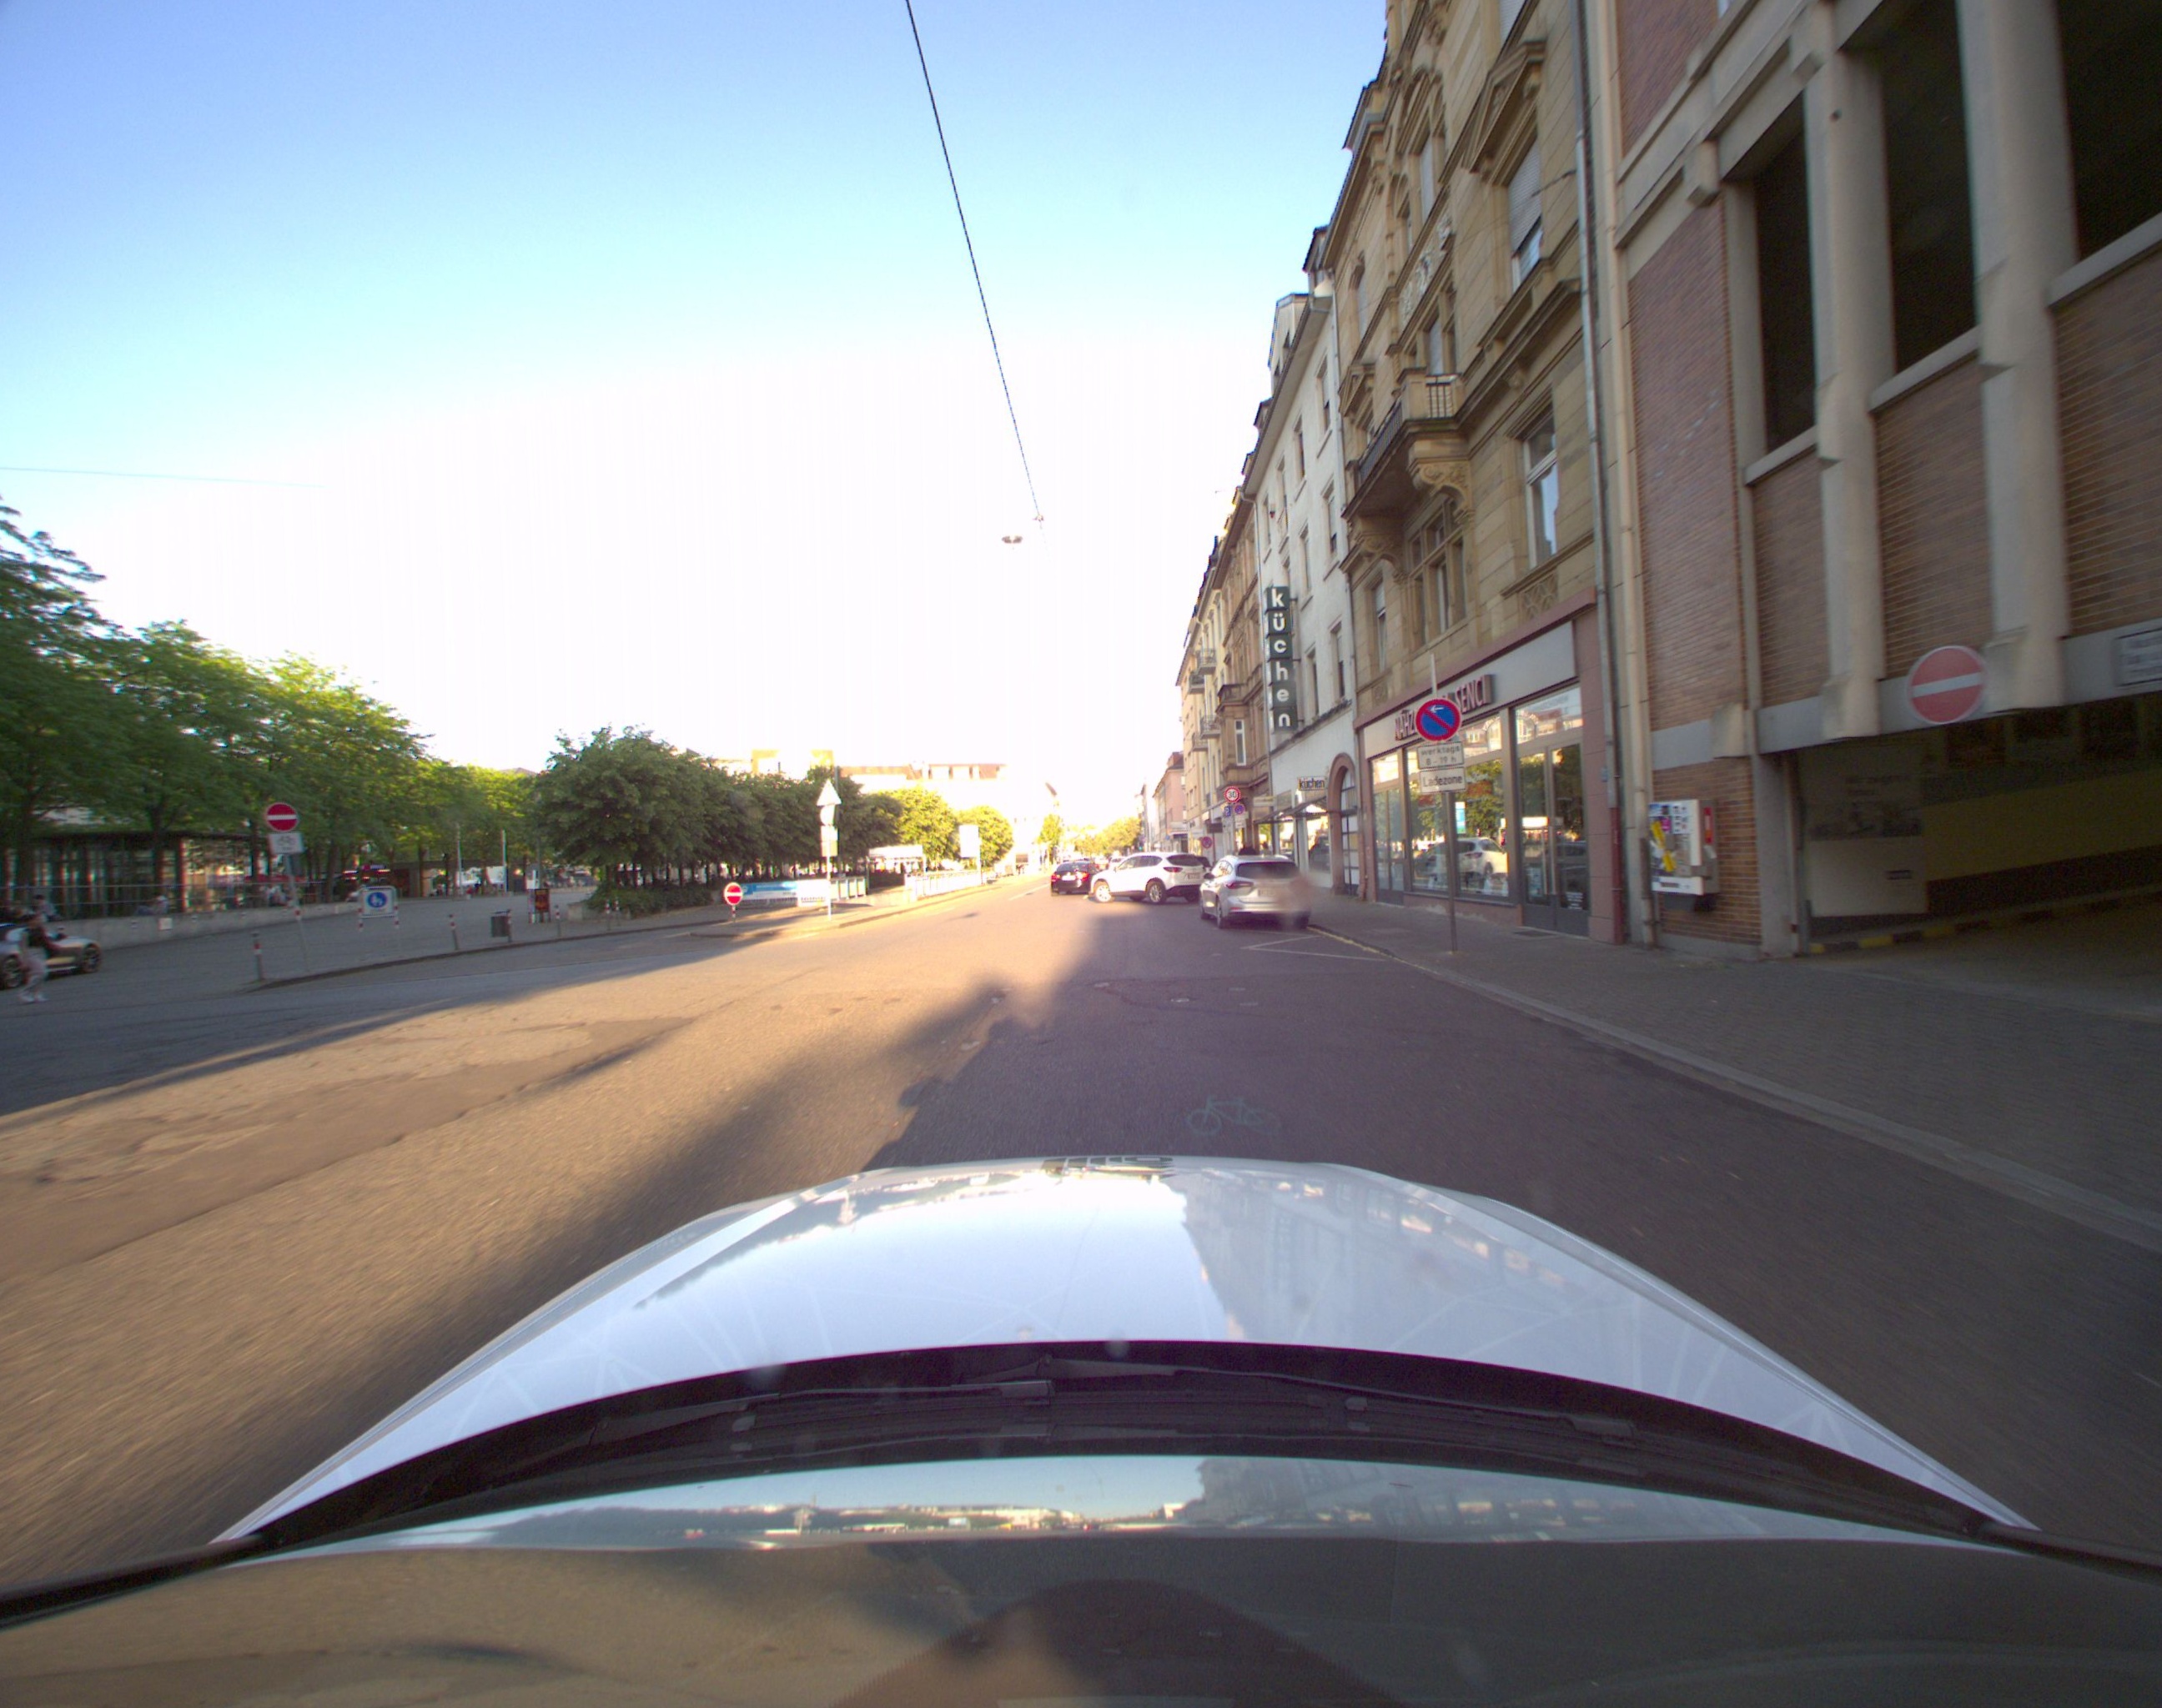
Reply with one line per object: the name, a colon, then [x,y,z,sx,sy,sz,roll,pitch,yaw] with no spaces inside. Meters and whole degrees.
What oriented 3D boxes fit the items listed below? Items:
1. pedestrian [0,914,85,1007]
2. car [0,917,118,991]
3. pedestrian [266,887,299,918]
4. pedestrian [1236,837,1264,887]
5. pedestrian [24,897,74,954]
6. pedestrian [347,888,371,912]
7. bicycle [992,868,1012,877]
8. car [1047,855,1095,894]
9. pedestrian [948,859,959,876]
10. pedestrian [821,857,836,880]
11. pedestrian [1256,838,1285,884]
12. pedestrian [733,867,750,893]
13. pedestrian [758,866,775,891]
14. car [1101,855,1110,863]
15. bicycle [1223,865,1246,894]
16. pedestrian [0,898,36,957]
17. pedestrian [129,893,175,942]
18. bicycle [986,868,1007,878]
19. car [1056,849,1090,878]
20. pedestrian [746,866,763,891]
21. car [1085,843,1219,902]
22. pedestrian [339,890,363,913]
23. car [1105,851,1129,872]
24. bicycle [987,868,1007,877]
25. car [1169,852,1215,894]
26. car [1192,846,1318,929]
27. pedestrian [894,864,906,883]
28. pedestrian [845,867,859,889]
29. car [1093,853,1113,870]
pedestrian: [-19.345,1.944,15.033,0.901,1.566,0.762,-3,0,-23]
car: [-23.879,2.230,17.864,2.006,1.317,4.486,-3,0,-28]
pedestrian: [-34.502,2.100,35.195,0.792,1.279,0.649,-3,-2,-23]
pedestrian: [6.465,0.307,31.225,0.769,1.827,1.011,-4,0,2]
pedestrian: [-29.974,2.059,23.664,0.622,1.586,0.696,-3,-2,-21]
pedestrian: [-36.653,2.331,41.332,0.716,1.120,0.606,-2,0,-23]
bicycle: [-7.469,1.741,76.617,1.820,0.853,0.483,0,0,-2]
car: [-0.367,0.858,35.420,1.889,1.581,4.002,-1,0,2]
pedestrian: [-12.296,1.340,78.380,0.783,1.595,0.571,-2,0,21]
pedestrian: [-18.083,1.027,58.310,0.671,1.595,0.680,-2,0,21]
pedestrian: [7.276,0.266,31.342,0.769,1.711,1.042,-4,0,2]
pedestrian: [-21.482,1.628,51.532,0.783,1.595,0.571,-2,0,21]
pedestrian: [-20.952,1.630,54.248,0.783,1.595,0.571,-2,0,21]
car: [5.252,1.028,173.900,1.773,1.547,4.001,-2,0,1]
bicycle: [5.691,0.926,30.299,0.502,1.016,1.948,-3,0,2]
pedestrian: [-29.452,2.009,22.306,0.690,1.586,0.764,-3,-2,-21]
pedestrian: [-31.371,2.121,27.523,0.792,1.586,0.649,-3,-2,-23]
bicycle: [-7.766,1.739,74.821,1.820,0.853,0.483,0,0,-2]
car: [-0.484,0.585,51.414,1.889,1.649,4.106,-2,0,2]
pedestrian: [-21.893,1.633,54.592,0.783,1.595,0.571,-2,0,21]
car: [2.277,0.628,27.274,2.009,1.761,4.417,-3,0,-35]
pedestrian: [-36.330,2.361,40.526,0.716,1.059,0.606,-2,0,-23]
car: [2.899,0.581,65.883,1.889,1.581,4.002,-1,0,2]
bicycle: [-7.971,1.743,77.544,1.820,0.853,0.483,0,0,-2]
car: [4.320,0.725,32.065,1.525,1.536,3.286,-2,-1,4]
car: [3.594,0.654,17.701,1.753,1.536,4.821,-1,-1,0]
pedestrian: [-15.353,1.639,69.049,0.783,1.595,0.571,-2,0,21]
pedestrian: [-17.264,1.789,61.409,0.671,1.595,0.680,-2,0,21]
car: [2.138,0.738,79.226,1.889,1.581,3.853,0,0,2]
